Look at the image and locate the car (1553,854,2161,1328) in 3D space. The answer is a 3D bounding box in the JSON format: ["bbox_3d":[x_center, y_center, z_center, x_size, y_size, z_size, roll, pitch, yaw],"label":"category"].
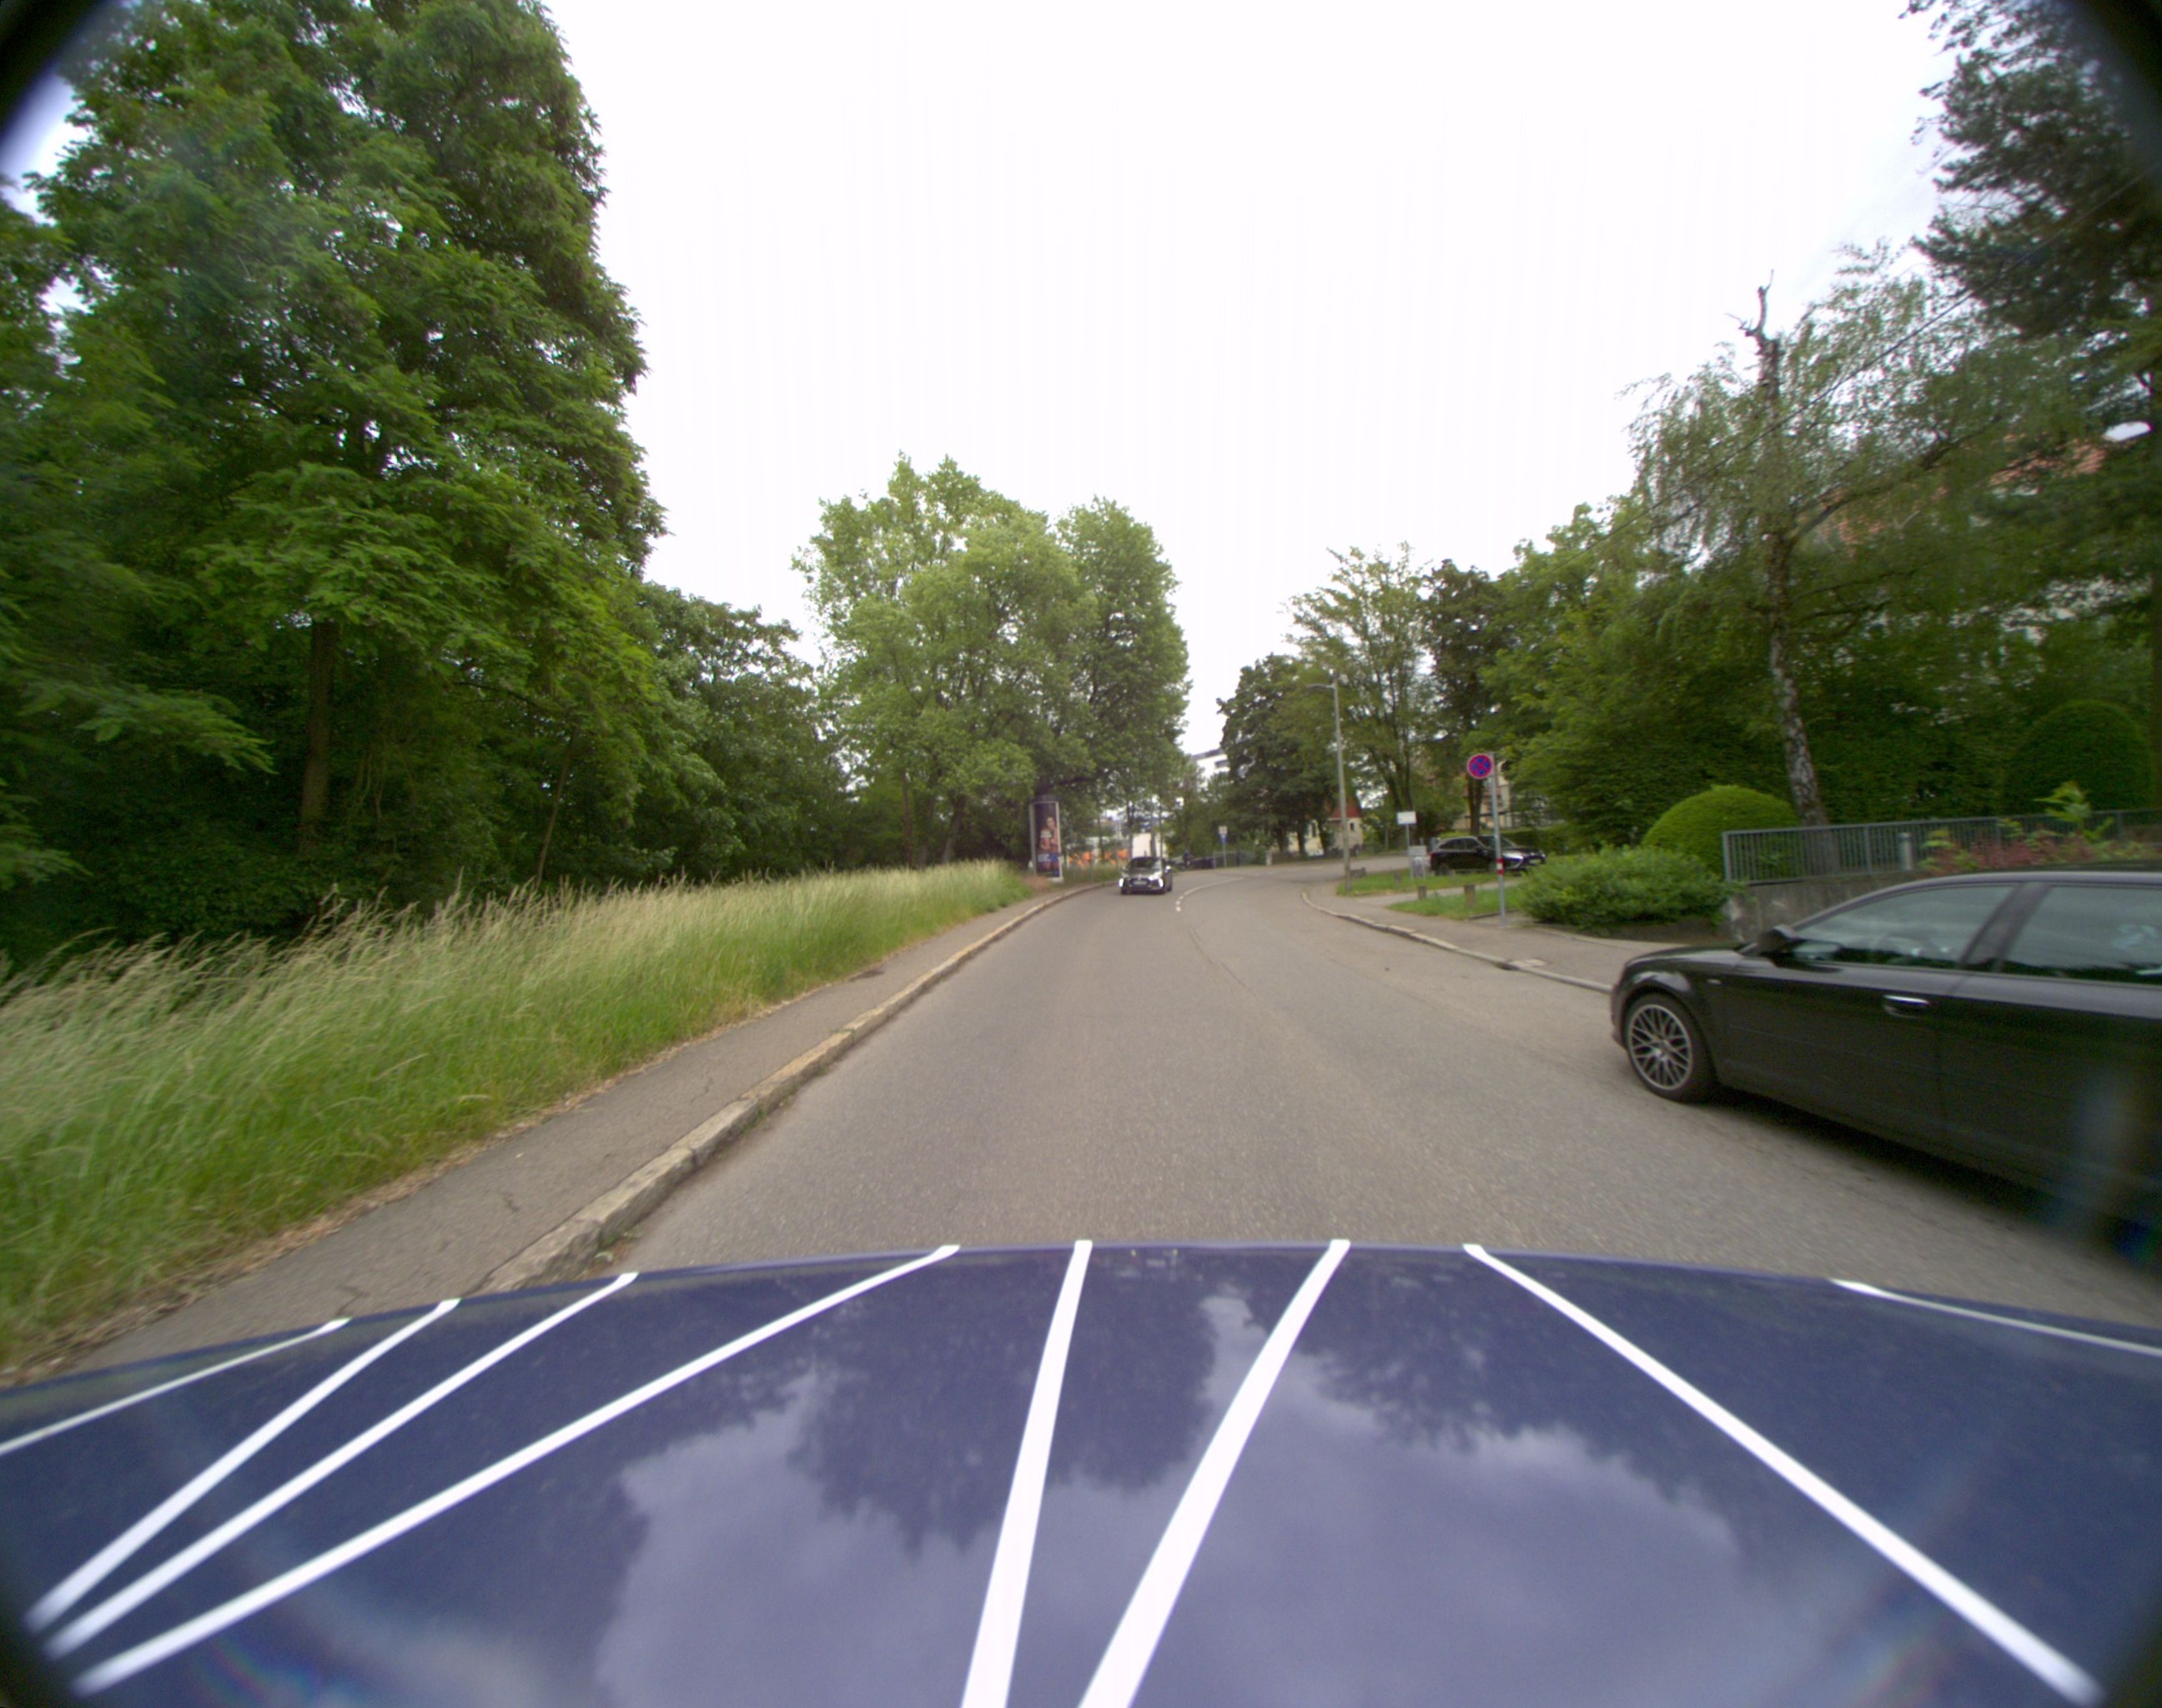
[{"bbox_3d":[4.258,0.753,3.184,1.739,1.410,4.503,-2,0,0],"label":"car"}]

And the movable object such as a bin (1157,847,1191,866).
[{"bbox_3d":[8.356,0.247,68.648,1.449,1.538,2.890,-4,0,-32],"label":"movable object such as a bin"}]

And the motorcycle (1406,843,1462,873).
[{"bbox_3d":[15.356,0.175,33.033,2.067,1.145,0.864,-4,1,-15],"label":"motorcycle"}]

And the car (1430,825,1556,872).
[{"bbox_3d":[15.989,-0.160,29.788,1.748,1.584,4.328,-4,0,-16],"label":"car"}]

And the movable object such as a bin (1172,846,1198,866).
[{"bbox_3d":[9.094,0.175,66.365,1.678,1.538,1.423,-4,0,-32],"label":"movable object such as a bin"}]

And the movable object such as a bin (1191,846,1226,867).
[{"bbox_3d":[12.020,0.249,71.757,2.211,1.722,2.231,-4,0,-29],"label":"movable object such as a bin"}]

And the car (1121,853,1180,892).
[{"bbox_3d":[2.832,0.702,30.265,1.644,1.390,3.786,-1,1,16],"label":"car"}]

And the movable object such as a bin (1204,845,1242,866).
[{"bbox_3d":[12.980,0.169,69.570,2.211,1.703,2.495,-4,0,-29],"label":"movable object such as a bin"}]
